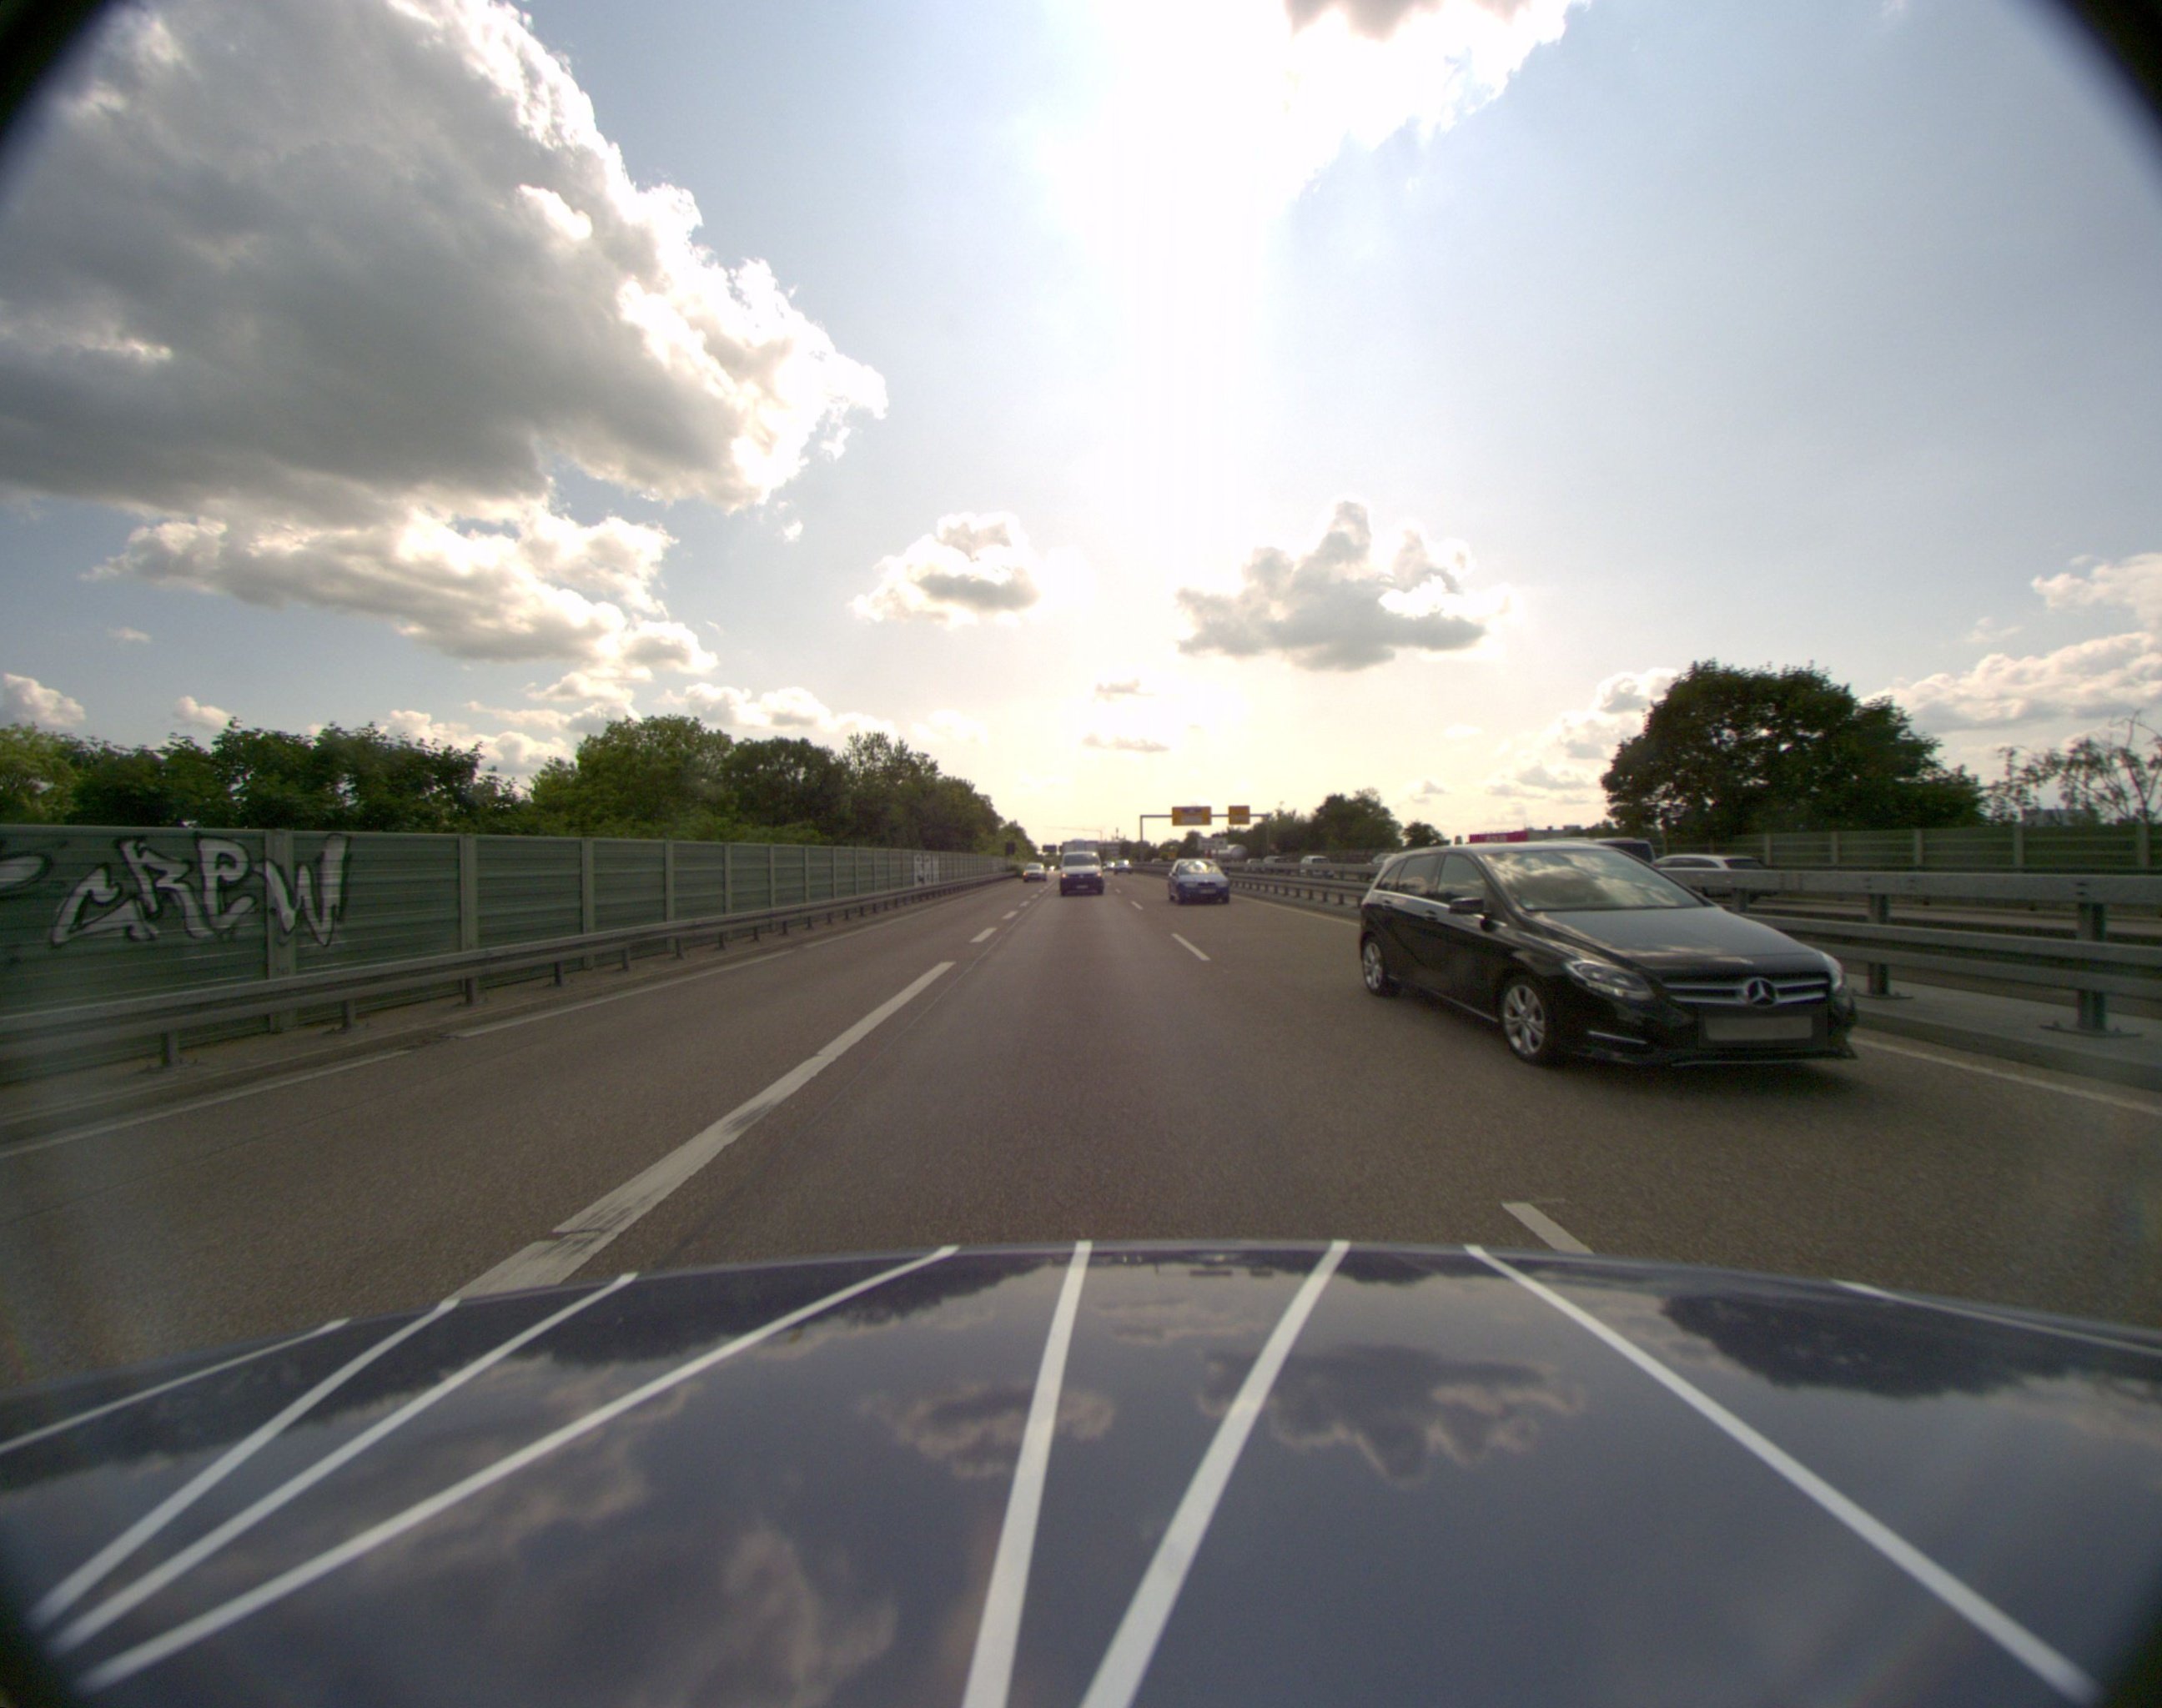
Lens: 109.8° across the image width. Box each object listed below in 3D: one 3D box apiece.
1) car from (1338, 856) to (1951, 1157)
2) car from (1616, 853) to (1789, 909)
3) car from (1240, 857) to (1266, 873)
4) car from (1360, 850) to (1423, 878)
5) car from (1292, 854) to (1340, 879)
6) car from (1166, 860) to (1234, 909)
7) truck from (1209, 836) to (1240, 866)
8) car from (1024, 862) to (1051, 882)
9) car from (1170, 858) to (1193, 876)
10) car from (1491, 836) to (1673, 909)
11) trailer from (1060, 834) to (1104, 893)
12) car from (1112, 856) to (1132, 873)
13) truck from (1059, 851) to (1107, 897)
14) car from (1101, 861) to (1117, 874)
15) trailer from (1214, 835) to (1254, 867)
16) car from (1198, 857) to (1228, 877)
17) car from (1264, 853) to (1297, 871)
[{"bbox_3d":[3.809,0.830,6.381,1.716,1.518,4.592,-3,0,0],"label":"car"},{"bbox_3d":[19.623,0.792,24.282,1.929,1.565,4.282,-2,0,-1],"label":"car"},{"bbox_3d":[17.629,1.122,78.037,1.787,1.500,3.959,-3,0,0],"label":"car"},{"bbox_3d":[18.609,0.567,45.730,1.929,1.565,4.282,-2,0,-1],"label":"car"},{"bbox_3d":[15.739,0.797,51.082,1.929,1.565,3.886,-3,0,-1],"label":"car"},{"bbox_3d":[3.901,0.959,25.439,1.625,1.403,3.771,-3,0,0],"label":"car"},{"bbox_3d":[18.833,-0.390,100.093,2.655,3.760,6.232,-3,0,0],"label":"truck"},{"bbox_3d":[-3.422,1.389,60.291,1.768,1.403,3.771,-3,0,0],"label":"car"},{"bbox_3d":[11.359,1.463,86.133,1.999,1.846,4.238,-3,0,-1],"label":"car"},{"bbox_3d":[15.267,0.551,23.619,1.965,1.914,5.191,-3,-1,-2],"label":"car"},{"bbox_3d":[0.018,0.441,39.344,1.999,2.723,5.966,-3,0,0],"label":"trailer"},{"bbox_3d":[4.246,1.073,78.543,1.779,1.518,4.464,-3,0,0],"label":"car"},{"bbox_3d":[0.075,0.841,34.330,2.008,1.905,4.000,-2,0,0],"label":"truck"},{"bbox_3d":[3.849,1.828,104.720,1.895,1.518,4.464,-3,0,0],"label":"car"},{"bbox_3d":[18.771,-0.370,94.098,2.691,3.648,11.028,-3,0,1],"label":"trailer"},{"bbox_3d":[11.367,1.103,65.560,1.732,1.613,3.741,-3,-1,-2],"label":"car"},{"bbox_3d":[17.663,0.681,67.397,1.719,1.610,4.281,0,0,0],"label":"car"}]
